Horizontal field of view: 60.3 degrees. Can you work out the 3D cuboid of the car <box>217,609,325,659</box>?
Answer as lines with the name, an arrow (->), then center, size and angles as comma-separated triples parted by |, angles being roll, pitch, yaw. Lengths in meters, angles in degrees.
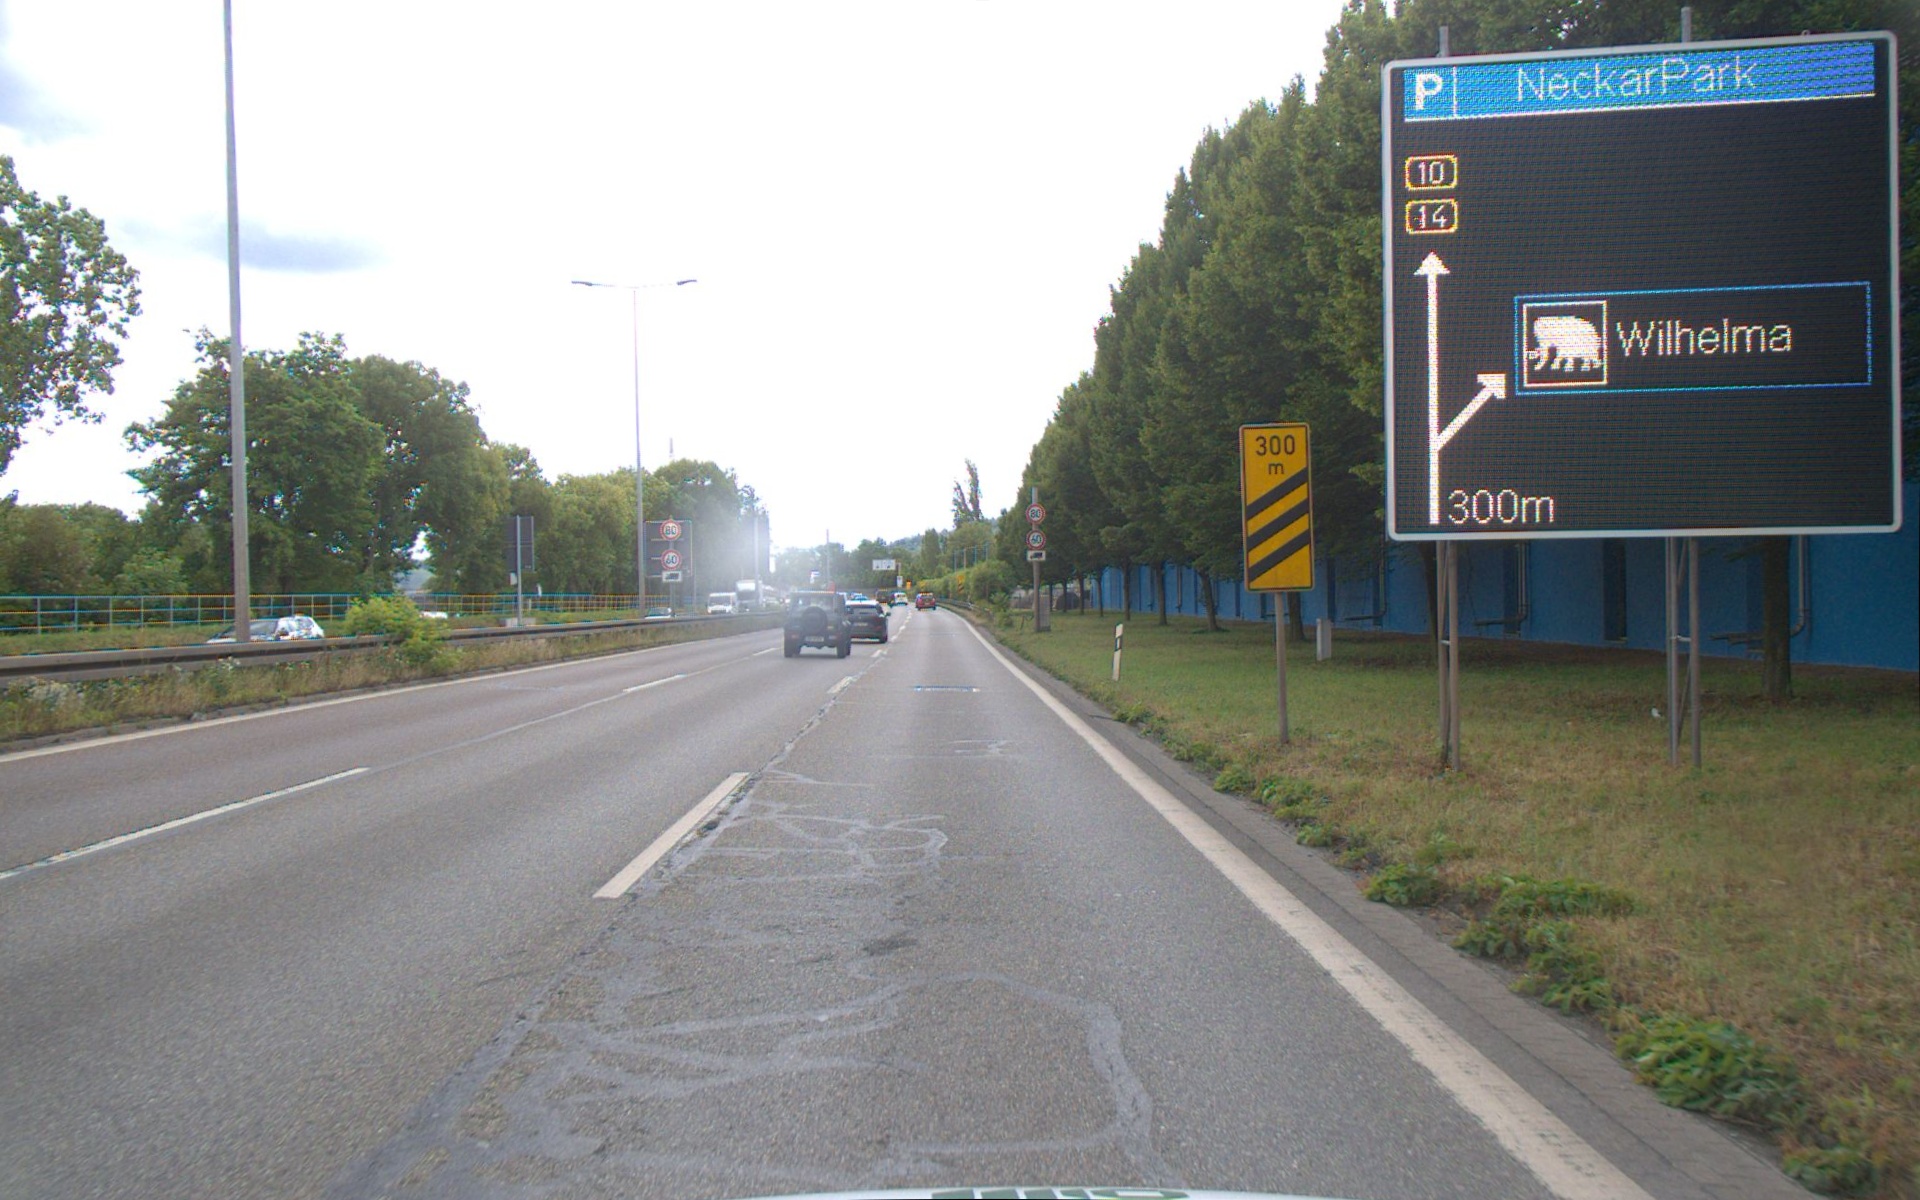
car -> -22.547, 1.092, 54.305 | 1.840, 1.516, 4.201 | -1, 0, -1

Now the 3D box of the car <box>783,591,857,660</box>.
car -> -3.683, 0.636, 44.069 | 1.663, 1.715, 3.999 | 1, 0, -1

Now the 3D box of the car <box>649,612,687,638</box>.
car -> -17.616, 1.504, 100.075 | 1.625, 1.423, 3.988 | -1, 0, -1

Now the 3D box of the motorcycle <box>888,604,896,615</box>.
motorcycle -> -7.519, 1.052, 183.152 | 0.775, 1.240, 2.329 | -1, 0, -1

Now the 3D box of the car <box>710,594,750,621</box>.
car -> -17.765, 0.575, 127.897 | 2.180, 1.982, 5.474 | -1, 0, 1

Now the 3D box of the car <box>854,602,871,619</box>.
car -> -10.853, 1.149, 184.350 | 1.663, 1.772, 4.393 | -3, 0, 0

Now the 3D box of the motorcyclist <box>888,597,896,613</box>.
motorcyclist -> -7.529, 0.519, 183.172 | 0.775, 1.791, 0.923 | -1, 0, -1

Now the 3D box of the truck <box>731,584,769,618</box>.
truck -> -23.460, 0.090, 185.229 | 2.829, 3.641, 9.588 | -2, 0, 1

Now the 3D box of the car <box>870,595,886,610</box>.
car -> -11.165, 0.302, 225.057 | 1.973, 1.968, 4.898 | -2, 0, -2

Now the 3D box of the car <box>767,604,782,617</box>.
car -> -26.351, 1.496, 235.000 | 1.691, 1.633, 4.041 | -3, 0, -1

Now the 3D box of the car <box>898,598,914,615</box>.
car -> -6.860, 0.843, 209.410 | 1.973, 1.968, 4.898 | -2, 0, -2

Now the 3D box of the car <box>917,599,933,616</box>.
car -> -3.718, 0.804, 176.502 | 1.663, 1.772, 4.392 | -2, 0, 0

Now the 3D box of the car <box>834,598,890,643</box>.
car -> -3.409, 0.707, 58.359 | 1.808, 1.448, 4.898 | -2, 0, -2

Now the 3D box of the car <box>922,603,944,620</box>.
car -> -2.569, 1.050, 155.486 | 1.935, 1.448, 4.898 | -2, 0, -2

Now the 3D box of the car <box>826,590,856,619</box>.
car -> -7.366, 0.252, 102.579 | 1.663, 1.772, 3.998 | 1, 0, -2

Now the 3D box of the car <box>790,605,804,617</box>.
car -> -24.687, 1.624, 251.062 | 1.663, 1.633, 4.537 | -3, 0, -1
